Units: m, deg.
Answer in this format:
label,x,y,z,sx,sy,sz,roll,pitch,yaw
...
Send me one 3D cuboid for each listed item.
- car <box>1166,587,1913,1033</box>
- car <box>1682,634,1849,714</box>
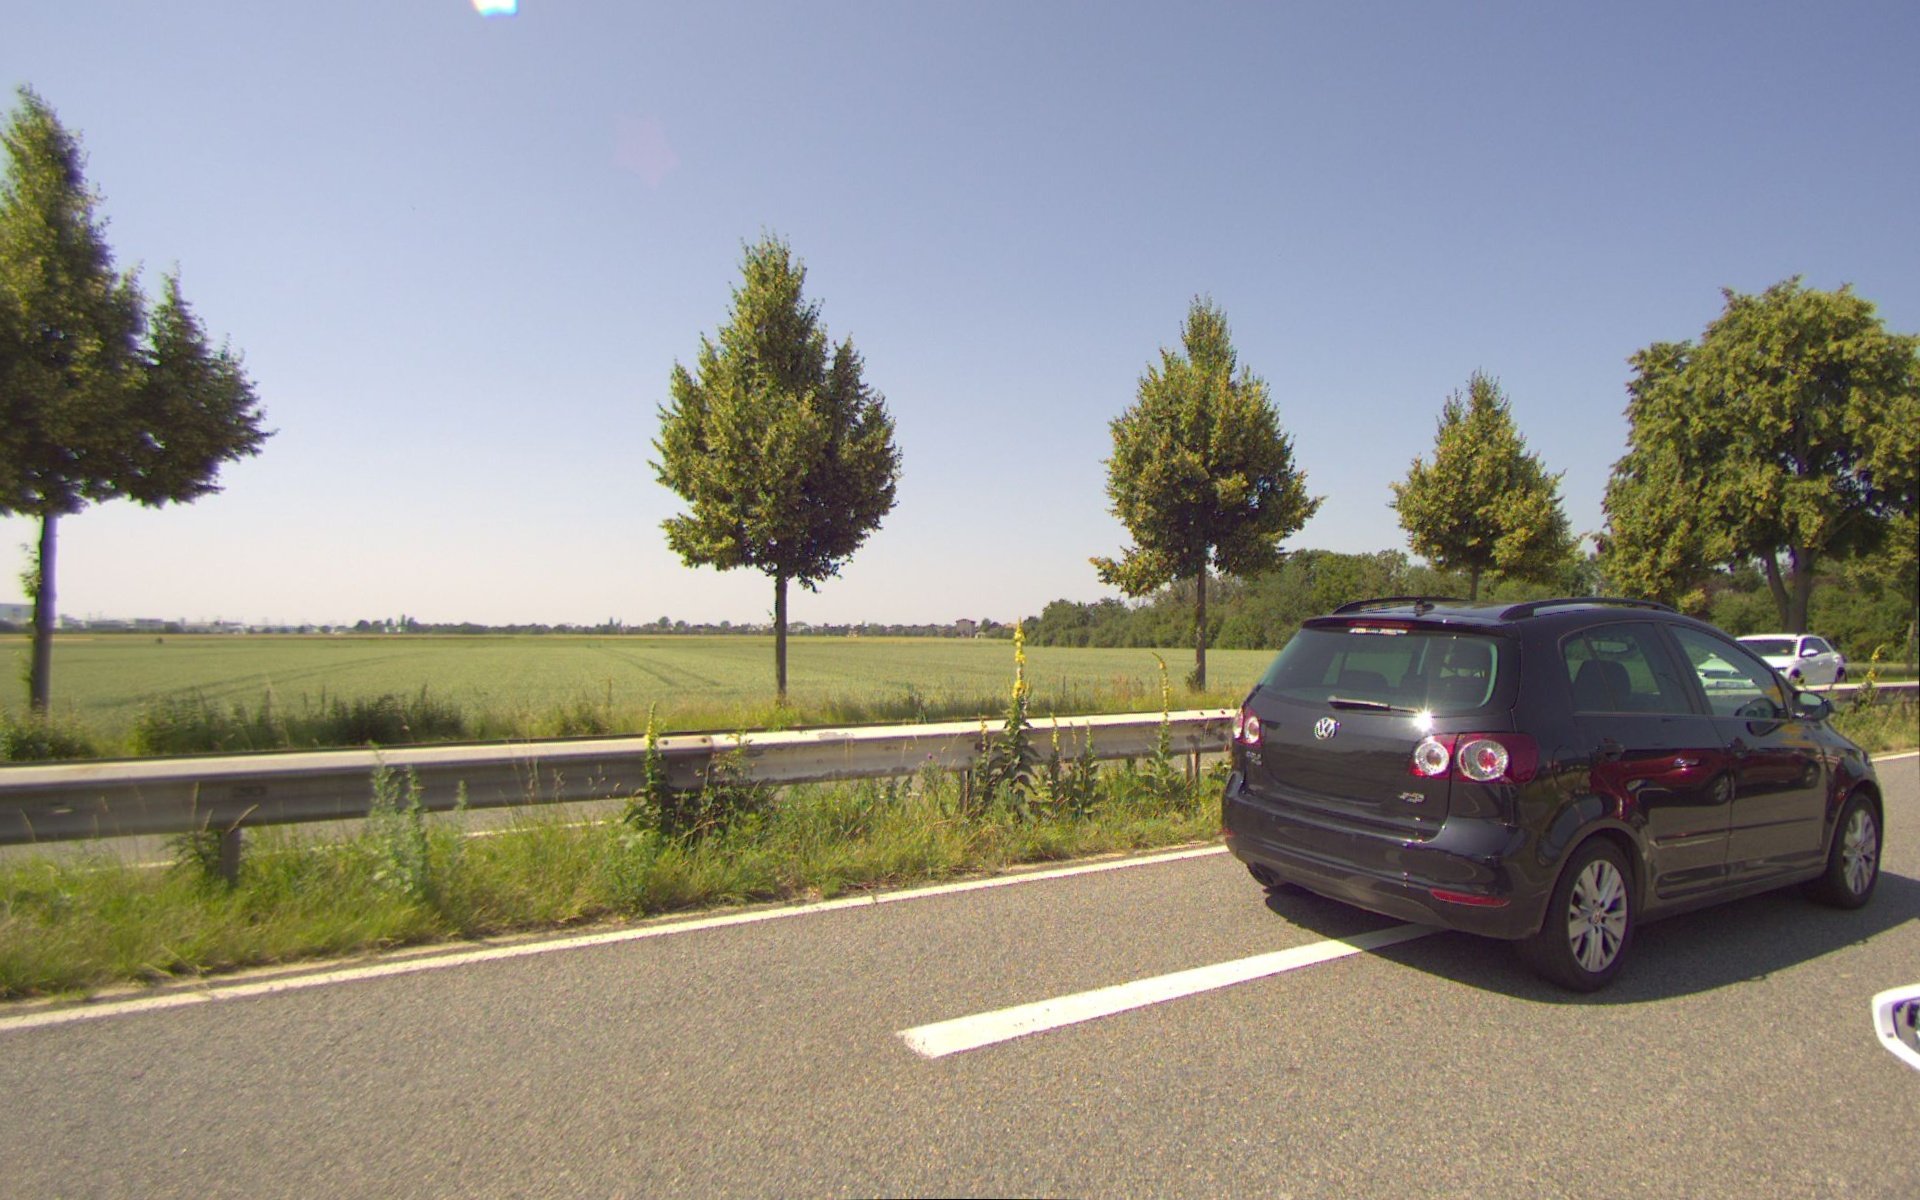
label,x,y,z,sx,sy,sz,roll,pitch,yaw
car,3.139,0.788,5.309,3.846,1.596,1.715,1,0,-30
car,18.258,1.611,22.733,4.091,1.639,1.736,1,-2,-33
